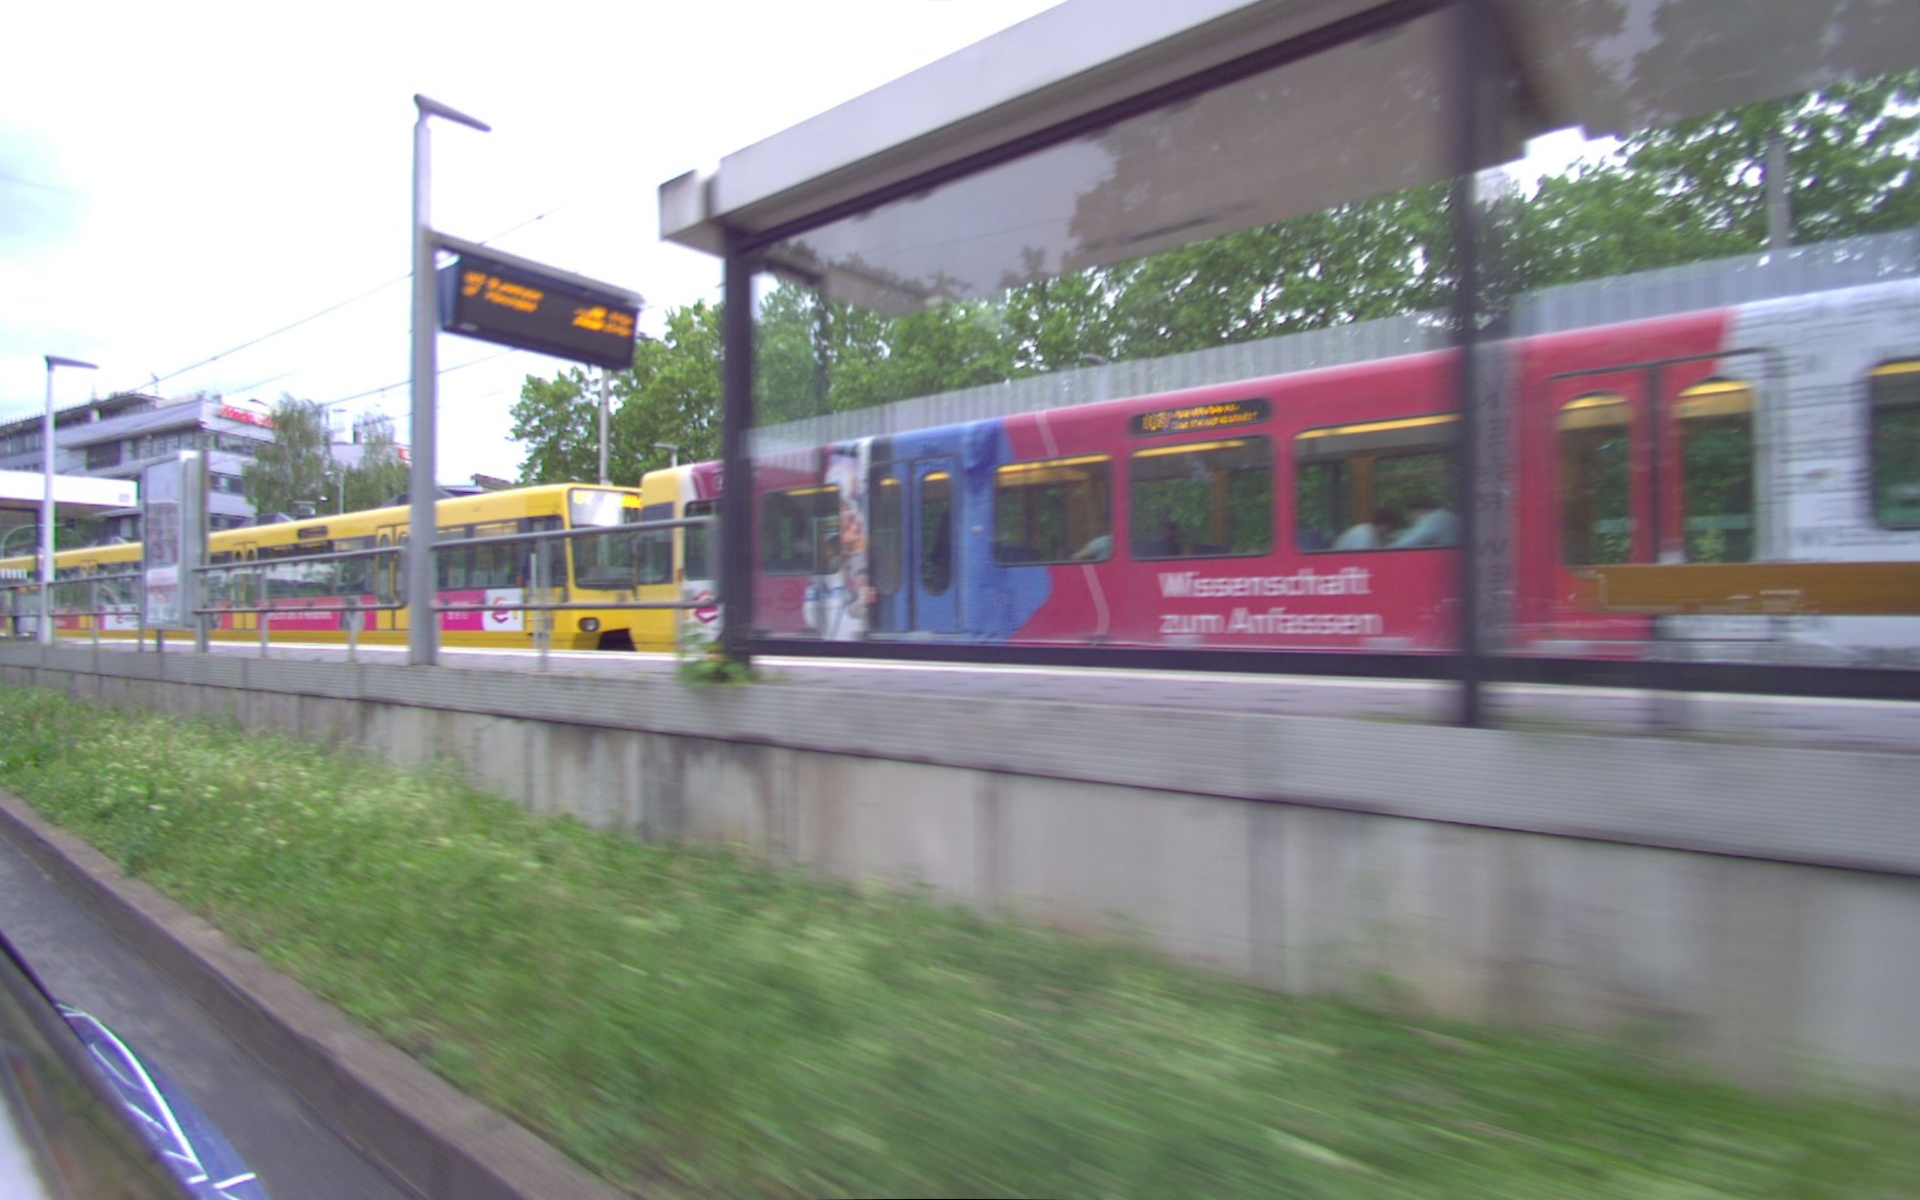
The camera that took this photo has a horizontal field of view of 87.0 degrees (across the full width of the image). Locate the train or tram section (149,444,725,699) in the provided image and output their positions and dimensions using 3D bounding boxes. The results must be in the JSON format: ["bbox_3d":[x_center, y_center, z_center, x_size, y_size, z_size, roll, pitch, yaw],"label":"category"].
[{"bbox_3d":[-12.921,-0.443,22.592,19.288,3.983,2.843,0,2,36],"label":"train or tram section"}]

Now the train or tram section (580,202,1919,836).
[{"bbox_3d":[2.526,-0.540,11.021,19.306,4.000,2.841,0,2,38],"label":"train or tram section"}]

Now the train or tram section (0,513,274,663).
[{"bbox_3d":[-28.860,-0.311,33.558,19.275,4.002,2.845,0,2,33],"label":"train or tram section"}]
